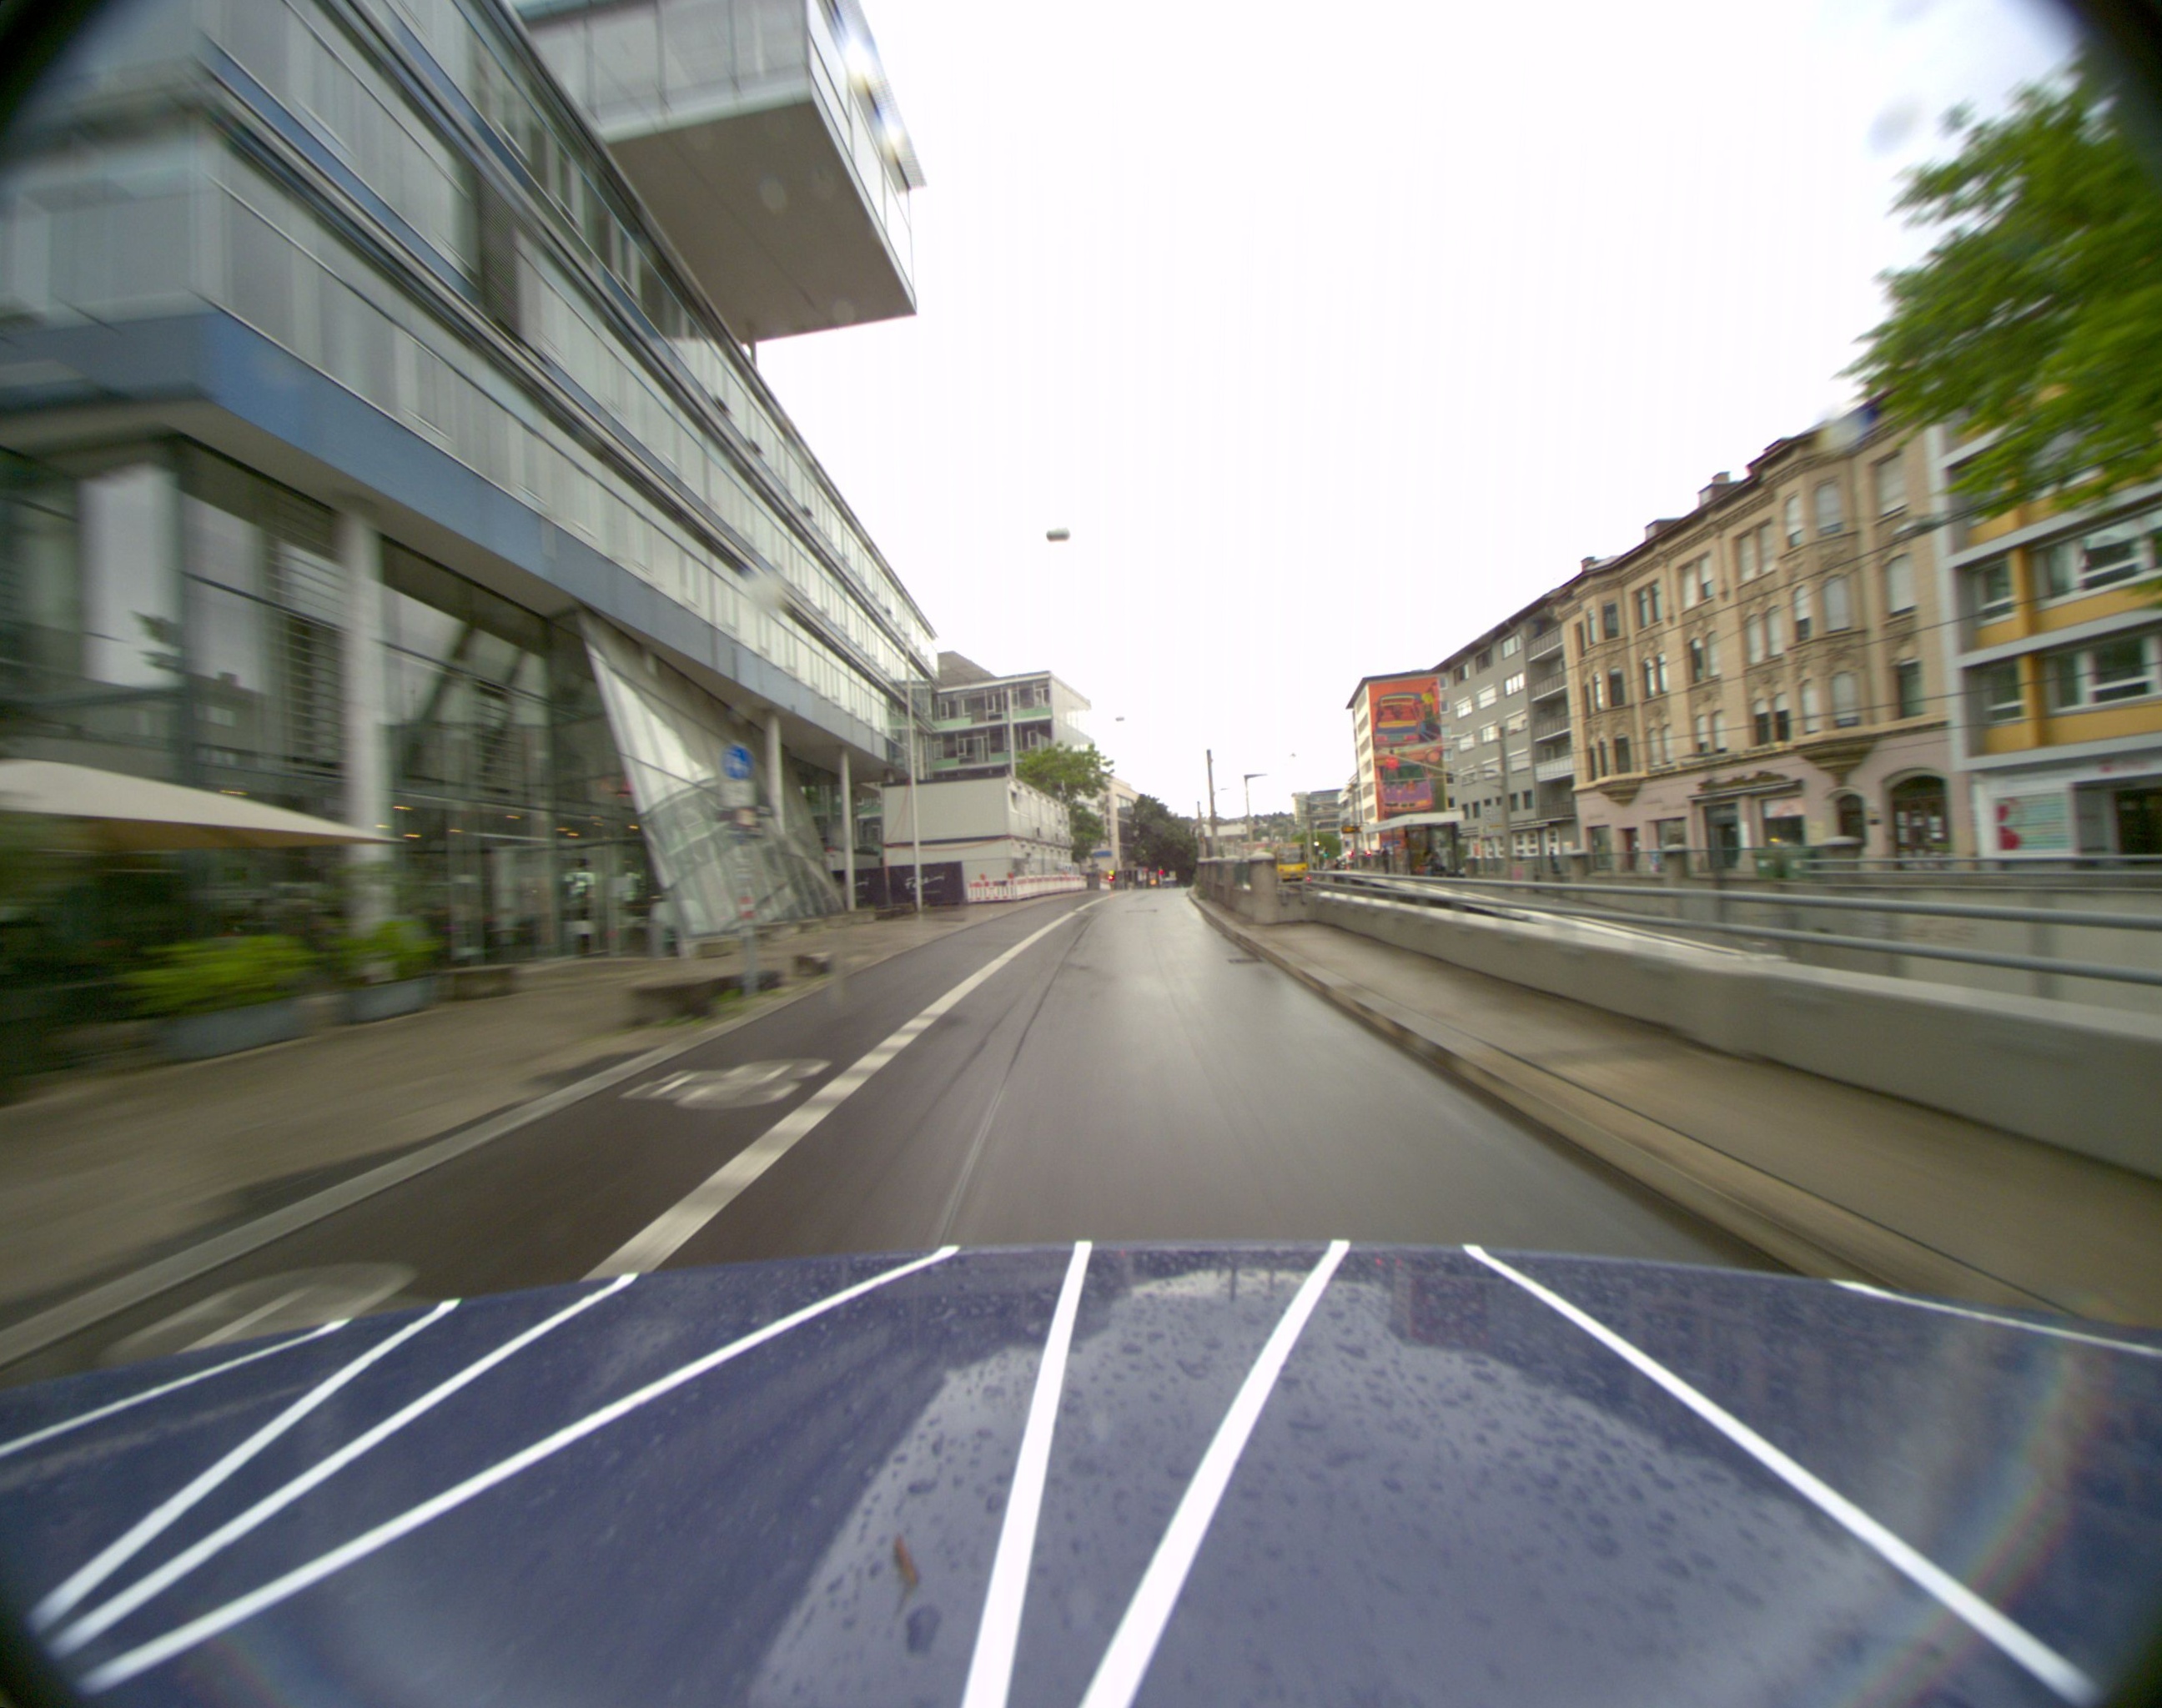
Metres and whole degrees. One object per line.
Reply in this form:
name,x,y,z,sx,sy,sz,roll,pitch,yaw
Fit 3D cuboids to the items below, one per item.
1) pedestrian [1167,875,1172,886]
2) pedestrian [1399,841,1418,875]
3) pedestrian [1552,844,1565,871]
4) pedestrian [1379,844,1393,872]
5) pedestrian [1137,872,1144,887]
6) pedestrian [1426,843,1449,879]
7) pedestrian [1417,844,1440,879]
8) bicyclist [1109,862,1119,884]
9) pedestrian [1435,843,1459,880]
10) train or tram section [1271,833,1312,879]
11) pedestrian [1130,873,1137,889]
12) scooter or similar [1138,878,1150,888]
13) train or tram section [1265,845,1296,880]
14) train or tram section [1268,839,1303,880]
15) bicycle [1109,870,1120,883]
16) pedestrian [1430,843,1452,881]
pedestrian,13.237,3.966,113.718,0.559,1.613,0.485,-5,-4,14
pedestrian,16.440,0.229,38.142,0.634,1.650,0.683,-4,-1,12
pedestrian,29.785,0.238,47.369,0.422,1.672,0.608,-5,-2,20
pedestrian,17.373,0.239,43.227,0.558,1.528,0.517,-3,0,9
pedestrian,6.998,3.005,89.228,0.720,1.750,0.959,-3,-2,5
pedestrian,16.541,0.312,35.237,0.773,1.639,0.778,2,0,13
pedestrian,16.592,0.345,36.310,0.773,1.639,0.778,2,0,13
bicyclist,2.622,1.502,59.791,0.663,1.628,0.793,1,-2,7
pedestrian,16.551,0.350,34.393,0.773,1.639,0.778,2,0,13
train or tram section,19.394,0.308,70.455,2.783,3.668,9.727,-5,-3,12
pedestrian,6.166,3.140,88.551,0.720,1.750,0.959,-3,-2,5
scooter or similar,7.665,3.524,92.481,1.385,1.172,0.511,-3,-2,-18
train or tram section,23.316,1.111,89.222,2.783,3.668,9.523,-5,-3,12
train or tram section,21.361,0.708,79.882,2.783,3.668,9.523,-5,-3,12
bicycle,2.634,1.790,59.913,0.663,1.046,2.059,-1,-2,7
pedestrian,15.939,0.333,33.666,0.678,1.639,0.896,2,0,13
